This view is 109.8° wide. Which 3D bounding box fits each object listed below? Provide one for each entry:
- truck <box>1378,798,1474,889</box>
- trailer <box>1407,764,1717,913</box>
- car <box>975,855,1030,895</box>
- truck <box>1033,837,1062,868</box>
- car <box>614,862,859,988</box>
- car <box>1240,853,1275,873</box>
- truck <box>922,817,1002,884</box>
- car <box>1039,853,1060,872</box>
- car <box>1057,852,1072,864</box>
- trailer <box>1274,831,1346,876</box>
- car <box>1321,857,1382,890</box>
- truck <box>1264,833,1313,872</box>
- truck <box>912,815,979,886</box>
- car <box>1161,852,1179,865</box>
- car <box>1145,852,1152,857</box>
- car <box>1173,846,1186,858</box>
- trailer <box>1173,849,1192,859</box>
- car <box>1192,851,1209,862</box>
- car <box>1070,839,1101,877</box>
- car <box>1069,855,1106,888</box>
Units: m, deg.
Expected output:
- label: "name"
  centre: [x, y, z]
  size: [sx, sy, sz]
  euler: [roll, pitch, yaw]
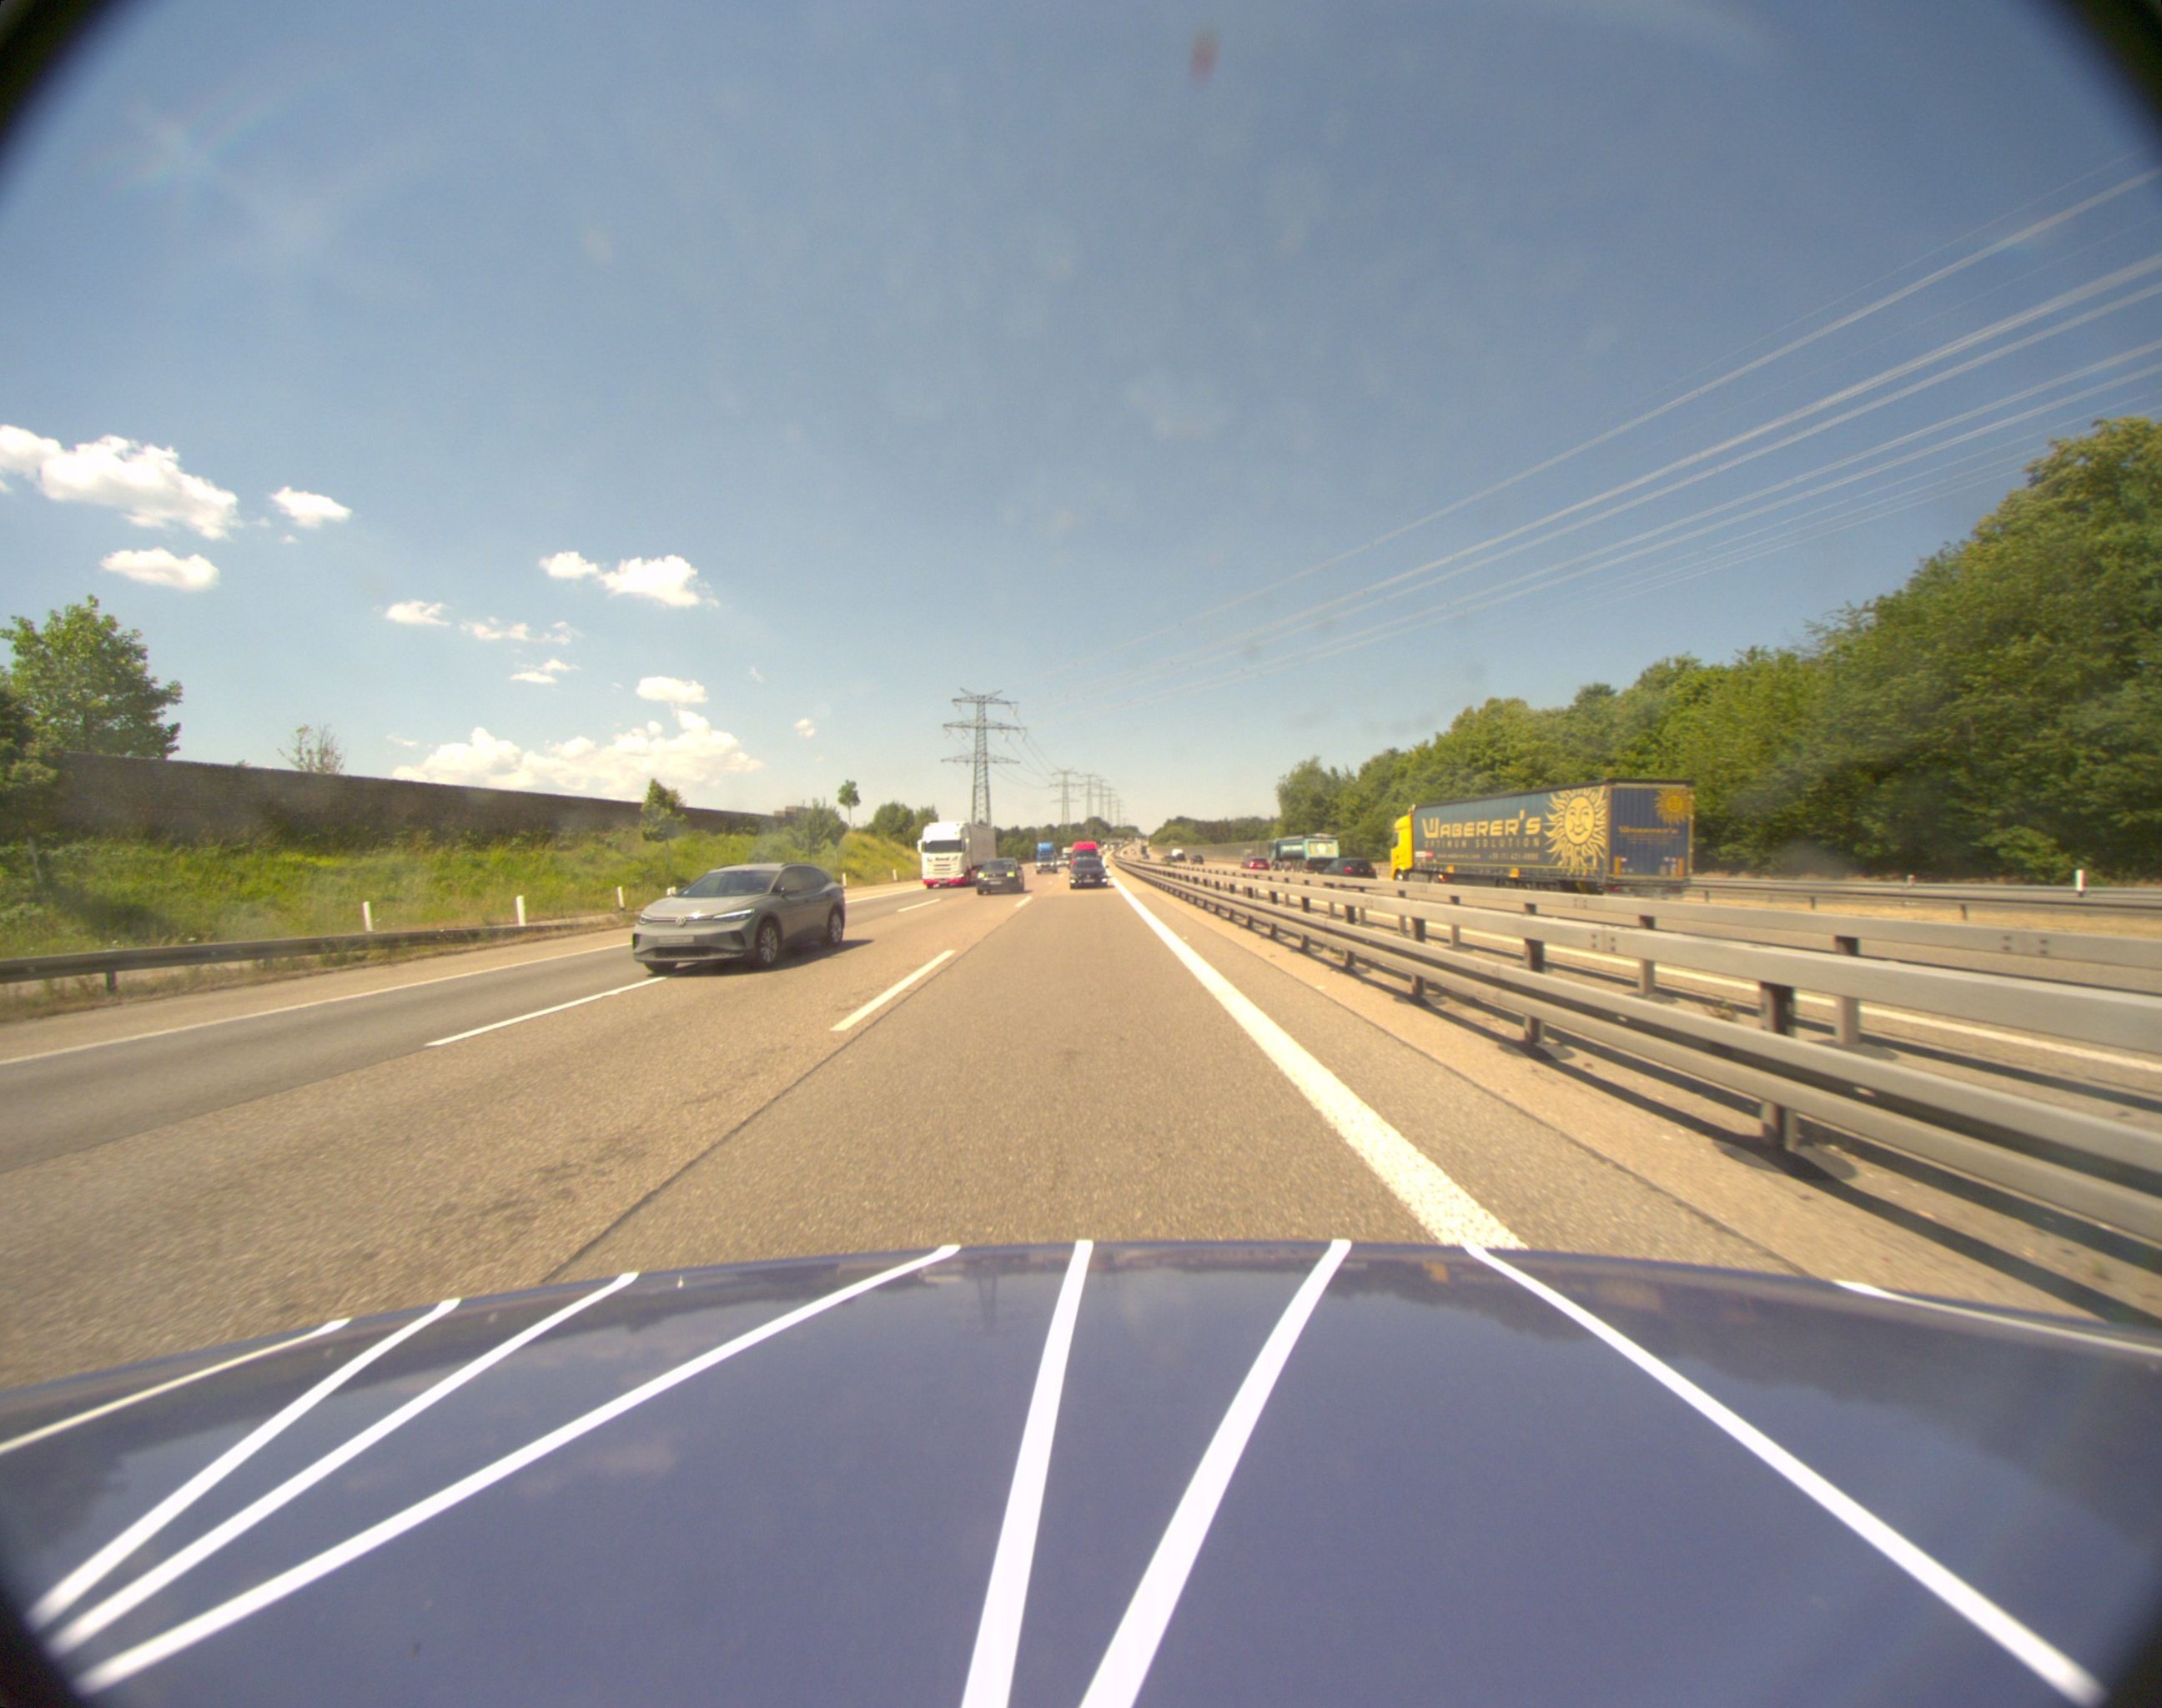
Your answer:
- label: "truck"
  centre: [17.056, -0.505, 37.835]
  size: [3.182, 4.316, 3.513]
  euler: [-1, 1, 0]
- label: "trailer"
  centre: [17.021, -0.460, 29.119]
  size: [3.182, 4.316, 13.811]
  euler: [-1, 0, 0]
- label: "car"
  centre: [-3.523, 0.899, 34.882]
  size: [1.955, 1.636, 4.047]
  euler: [-3, 0, 1]
- label: "truck"
  centre: [-5.722, -0.229, 133.009]
  size: [3.797, 4.970, 14.924]
  euler: [-2, 0, 1]
- label: "car"
  centre: [-5.530, 1.035, 13.006]
  size: [1.872, 1.627, 4.586]
  euler: [-2, 0, 2]
- label: "car"
  centre: [14.236, 0.686, 61.483]
  size: [1.786, 1.521, 4.384]
  euler: [2, 0, 0]
- label: "truck"
  centre: [-7.847, -0.219, 52.265]
  size: [3.076, 3.885, 12.504]
  euler: [-2, 0, 1]
- label: "car"
  centre: [-2.984, 0.781, 72.610]
  size: [1.749, 1.691, 4.088]
  euler: [0, 0, 2]
- label: "car"
  centre: [-2.323, 0.515, 106.666]
  size: [1.879, 1.591, 3.688]
  euler: [0, 0, 2]
- label: "trailer"
  centre: [18.137, -0.066, 60.926]
  size: [2.921, 3.281, 9.710]
  euler: [-1, 0, 1]
- label: "car"
  centre: [13.419, 0.927, 37.940]
  size: [1.716, 1.460, 4.147]
  euler: [1, 0, 2]
- label: "truck"
  centre: [18.204, -0.101, 66.936]
  size: [2.921, 3.281, 5.331]
  euler: [-1, 0, 1]
- label: "truck"
  centre: [-8.001, -0.204, 45.356]
  size: [3.076, 3.885, 3.847]
  euler: [-2, 0, 1]
- label: "car"
  centre: [11.019, 0.568, 94.428]
  size: [1.786, 1.615, 4.000]
  euler: [0, 0, 1]
- label: "car"
  centre: [19.075, 0.105, 214.106]
  size: [1.786, 1.465, 4.355]
  euler: [2, 0, 2]
- label: "car"
  centre: [21.338, -0.439, 165.228]
  size: [2.114, 2.624, 6.004]
  euler: [1, 0, 1]
- label: "trailer"
  centre: [21.218, -0.056, 158.886]
  size: [2.772, 1.934, 6.722]
  euler: [1, 0, -1]
- label: "car"
  centre: [20.047, 0.339, 127.662]
  size: [2.163, 1.789, 4.512]
  euler: [1, 0, -1]
- label: "car"
  centre: [0.357, 0.277, 53.879]
  size: [2.100, 2.598, 4.496]
  euler: [0, 0, 2]
- label: "car"
  centre: [0.367, 0.848, 37.729]
  size: [1.735, 1.535, 3.750]
  euler: [0, 0, 1]
